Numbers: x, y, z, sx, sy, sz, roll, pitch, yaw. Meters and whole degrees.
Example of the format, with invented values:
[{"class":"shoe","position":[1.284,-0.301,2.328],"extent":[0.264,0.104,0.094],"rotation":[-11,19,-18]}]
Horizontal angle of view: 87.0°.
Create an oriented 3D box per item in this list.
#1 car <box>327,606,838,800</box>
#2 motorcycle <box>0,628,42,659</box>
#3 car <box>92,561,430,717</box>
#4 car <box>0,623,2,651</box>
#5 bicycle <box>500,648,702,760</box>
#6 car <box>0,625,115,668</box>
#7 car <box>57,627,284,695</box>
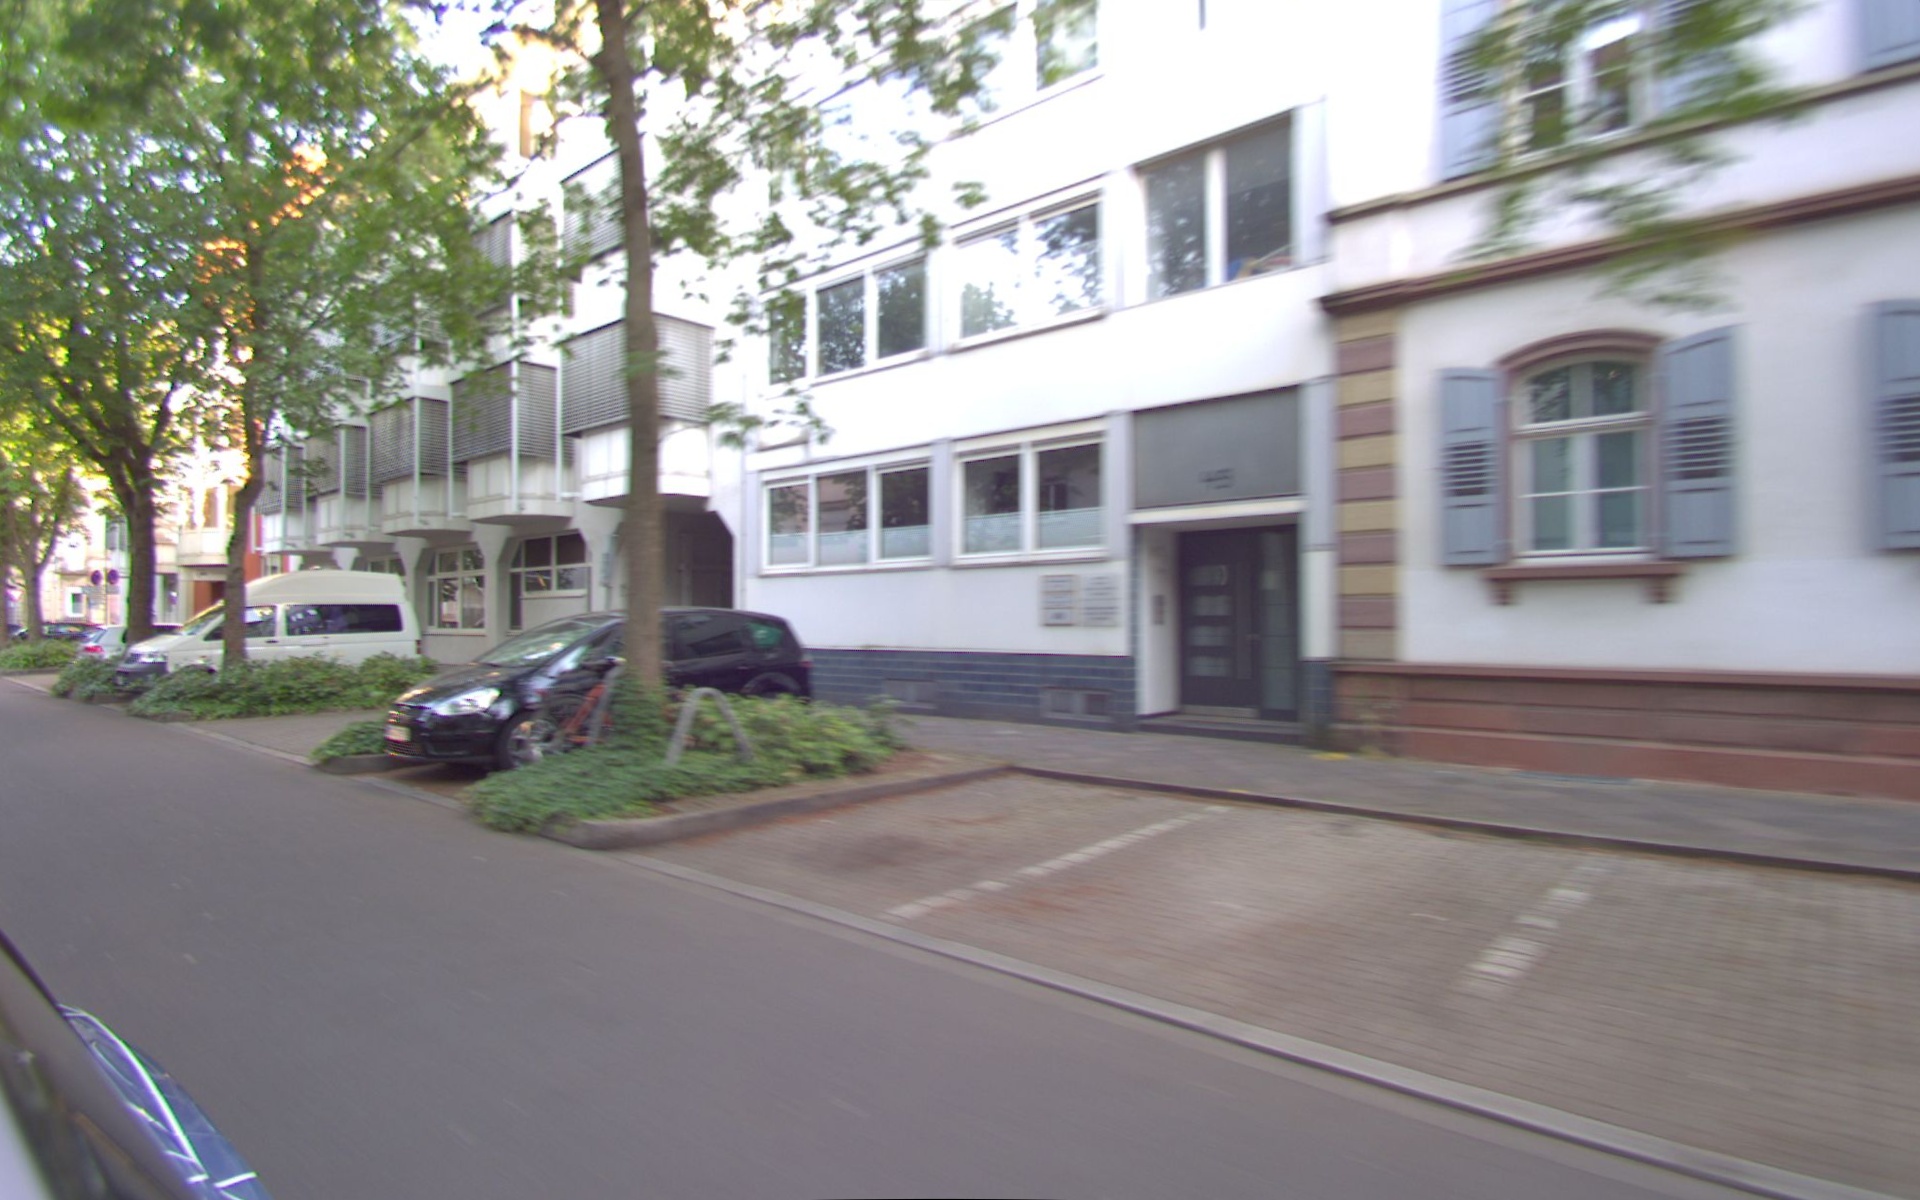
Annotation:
[{"class":"car","position":[-3.858,0.908,11.071],"extent":[2.159,1.634,4.801],"rotation":[-2,-2,42]},{"class":"motorcycle","position":[-46.403,2.106,49.370],"extent":[0.895,1.481,2.218],"rotation":[-1,-2,18]},{"class":"car","position":[-13.141,0.695,19.321],"extent":[2.120,2.592,4.951],"rotation":[-2,-2,41]},{"class":"car","position":[-61.347,2.289,61.515],"extent":[4.538,1.748,2.142],"rotation":[1,-2,-44]},{"class":"bicycle","position":[-3.065,0.857,8.734],"extent":[0.613,0.837,1.535],"rotation":[-2,-2,44]},{"class":"car","position":[-35.113,1.744,38.372],"extent":[1.870,1.537,4.462],"rotation":[-2,-2,40]},{"class":"car","position":[-19.255,1.434,24.811],"extent":[1.952,1.480,4.124],"rotation":[-2,-2,41]}]
